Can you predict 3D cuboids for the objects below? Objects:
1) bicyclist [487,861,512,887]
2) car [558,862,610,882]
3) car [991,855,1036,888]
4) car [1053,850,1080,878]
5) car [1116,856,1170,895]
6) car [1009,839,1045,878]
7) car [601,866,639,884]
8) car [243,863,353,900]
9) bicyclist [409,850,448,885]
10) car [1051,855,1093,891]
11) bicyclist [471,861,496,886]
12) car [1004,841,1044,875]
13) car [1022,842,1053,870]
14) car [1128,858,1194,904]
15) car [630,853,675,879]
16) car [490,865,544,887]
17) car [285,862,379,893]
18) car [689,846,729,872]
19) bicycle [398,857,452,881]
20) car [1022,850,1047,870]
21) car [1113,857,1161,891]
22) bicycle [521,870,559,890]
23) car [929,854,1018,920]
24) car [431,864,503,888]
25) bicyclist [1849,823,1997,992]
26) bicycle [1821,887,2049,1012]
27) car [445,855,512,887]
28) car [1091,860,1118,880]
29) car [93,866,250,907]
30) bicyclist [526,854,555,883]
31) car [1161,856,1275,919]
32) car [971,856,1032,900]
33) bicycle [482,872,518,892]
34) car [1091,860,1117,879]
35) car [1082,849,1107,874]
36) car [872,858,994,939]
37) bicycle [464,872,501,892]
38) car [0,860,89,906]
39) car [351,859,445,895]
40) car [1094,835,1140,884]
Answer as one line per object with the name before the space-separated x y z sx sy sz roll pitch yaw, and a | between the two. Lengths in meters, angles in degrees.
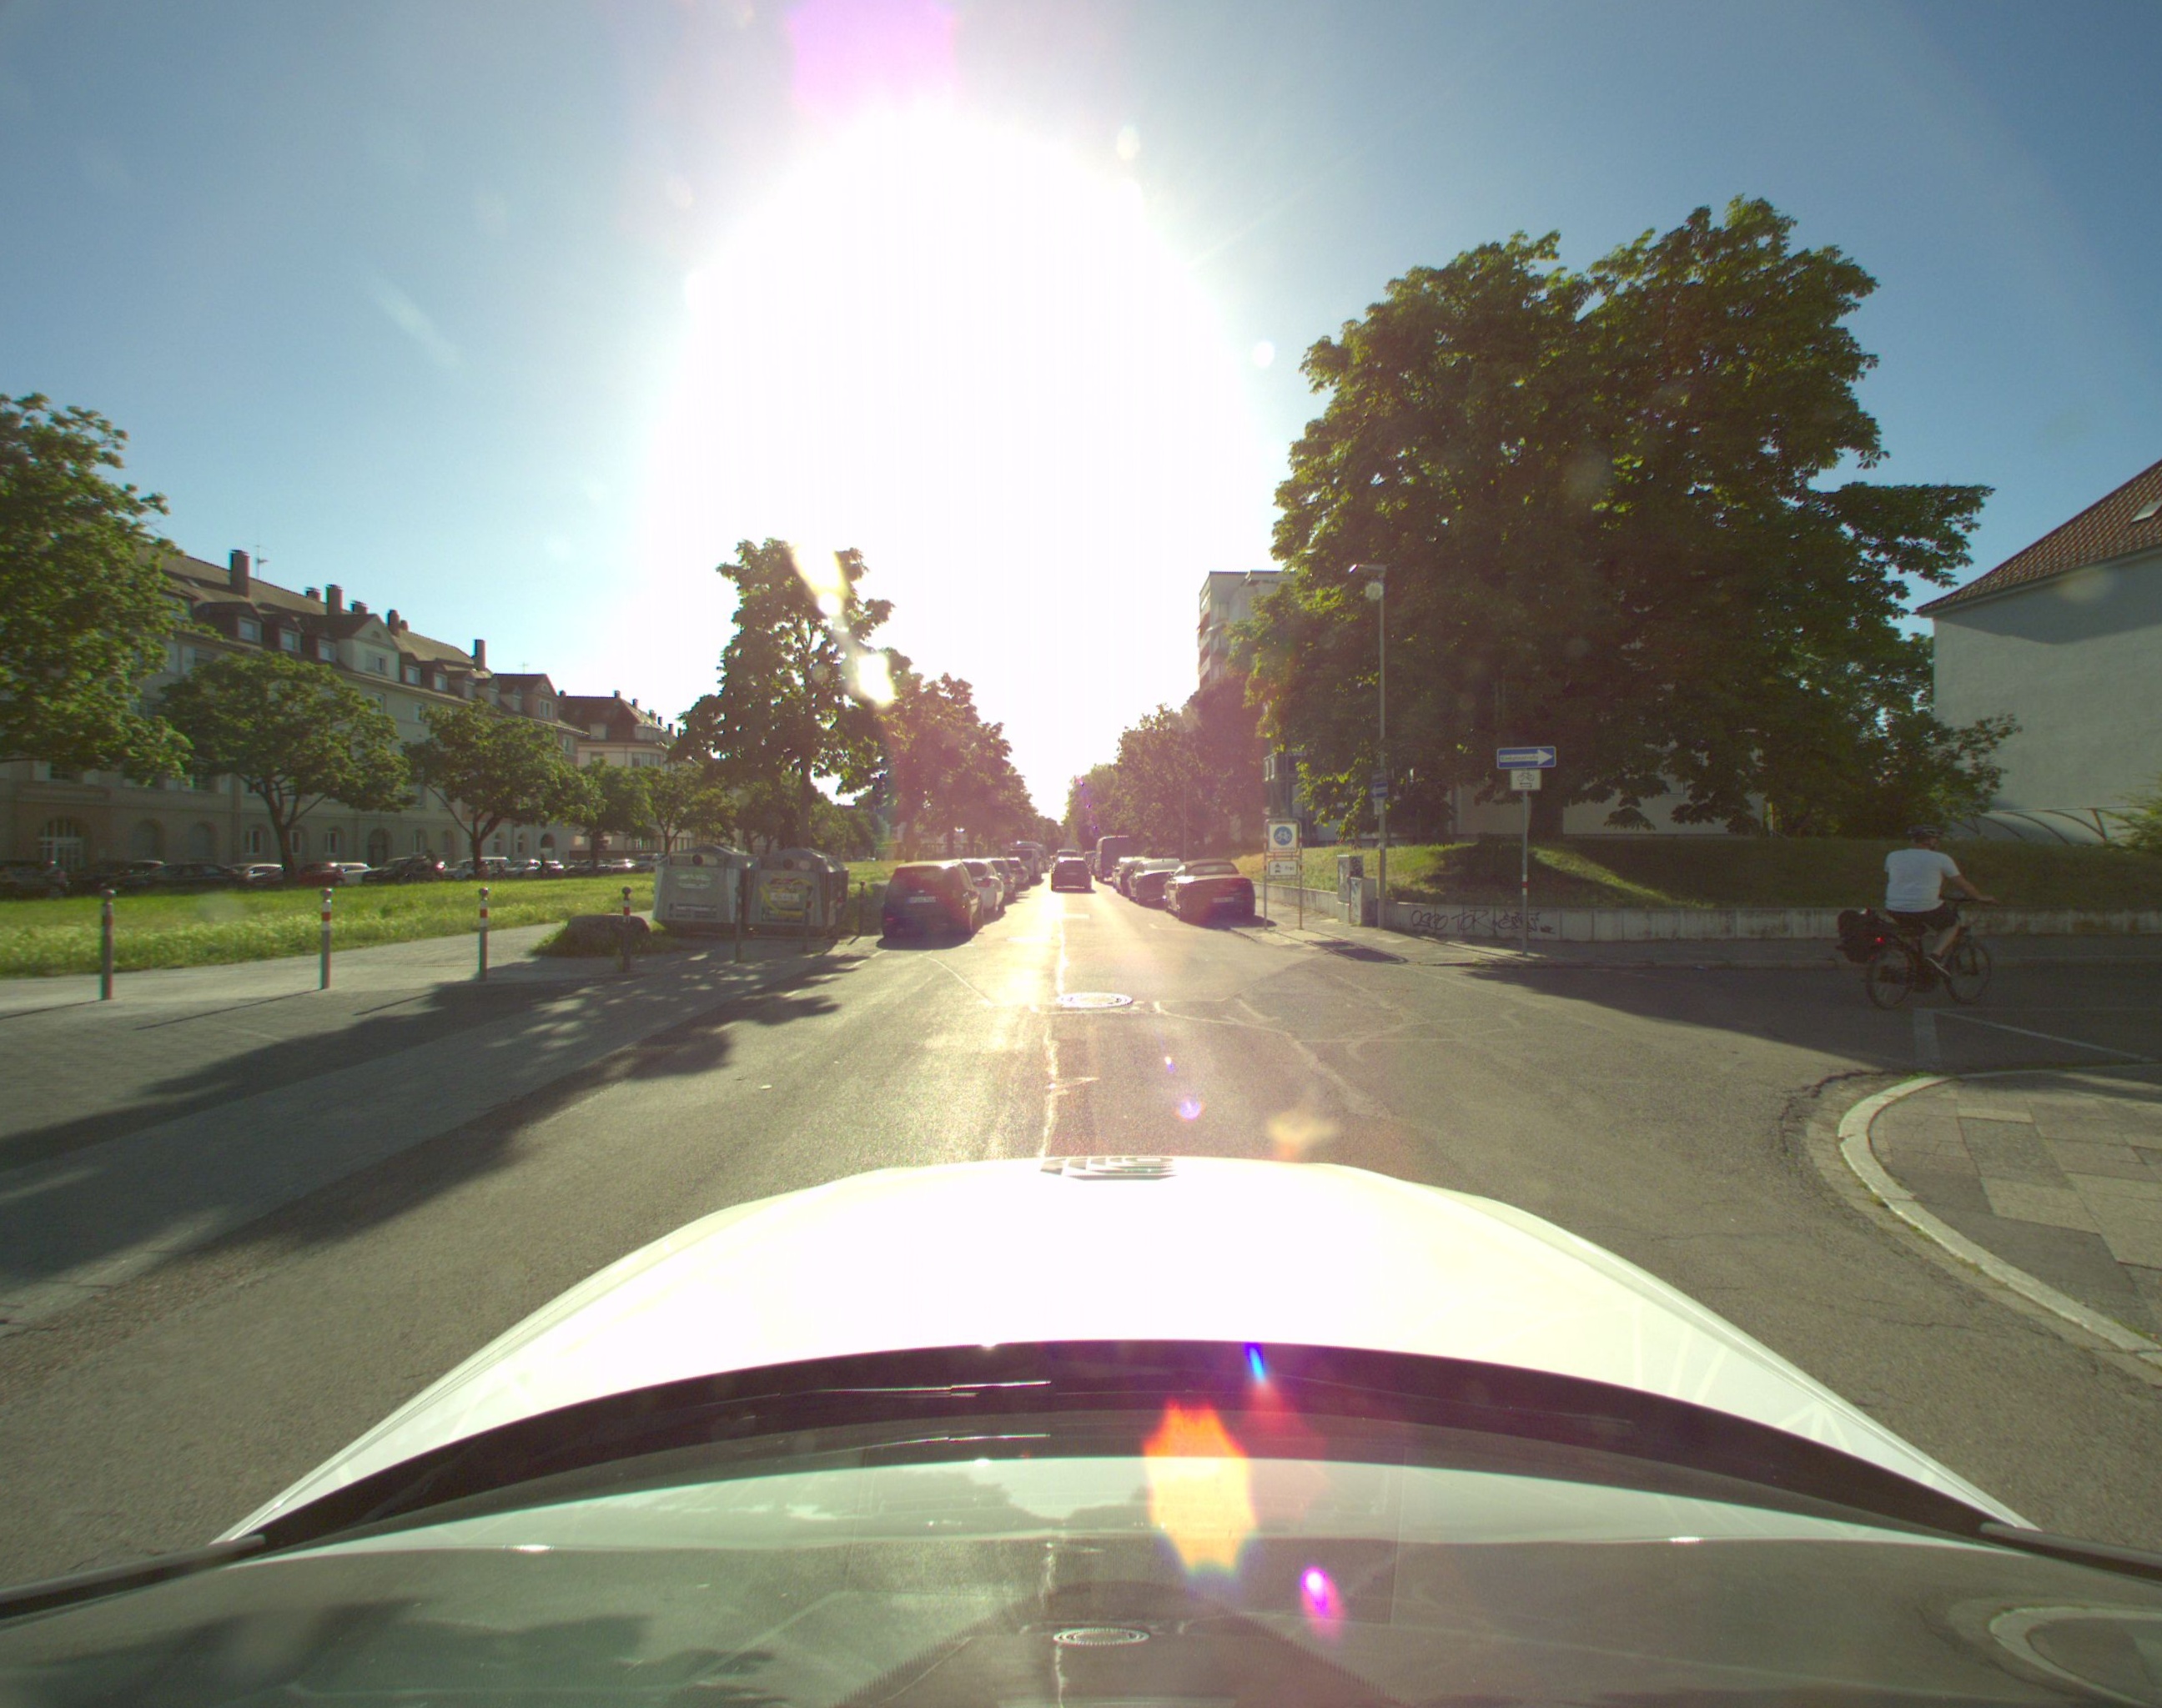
bicyclist | -33.654 1.160 47.146 0.736 1.437 0.942 -1 -1 -2
car | -39.132 1.400 64.195 1.841 1.440 3.773 0 0 -1
car | -3.191 0.809 39.177 1.827 1.500 4.126 0 0 0
car | -1.037 0.708 60.644 1.888 1.991 4.010 -2 0 0
car | 2.461 0.831 33.130 1.775 1.487 4.028 0 0 -2
car | -3.510 0.302 54.047 2.091 2.496 4.126 0 0 0
car | -38.864 1.736 68.716 1.514 1.440 3.228 0 0 -3
car | -38.469 1.327 40.144 1.628 1.686 4.076 0 0 -3
bicyclist | -35.318 0.727 44.116 0.938 1.837 1.449 -1 -1 0
car | -0.371 0.804 36.788 1.773 1.531 4.000 1 0 0
bicyclist | -34.668 1.113 47.239 0.736 1.437 0.942 1 1 -1
car | -3.259 0.220 47.644 2.092 1.942 4.125 0 0 -1
car | -4.194 0.203 79.484 2.608 2.645 6.114 0 0 0
car | 2.537 0.826 26.759 1.773 1.371 4.126 0 0 0
car | -39.144 1.067 74.477 1.690 2.213 5.002 0 0 -3
car | -38.811 1.497 56.151 1.376 1.440 3.341 0 0 0
car | -44.407 1.348 48.405 1.936 1.751 4.023 0 0 -2
car | -39.632 0.523 86.920 1.911 2.744 5.618 0 0 -3
bicycle | -35.345 0.805 43.929 0.808 1.252 2.632 0 0 -2
car | -4.176 0.511 73.822 2.003 1.785 4.126 -1 0 0
car | 2.557 0.894 38.190 1.982 1.487 4.126 0 0 0
bicycle | -35.348 1.674 53.236 0.808 1.252 2.632 0 0 -3
car | -2.731 0.812 21.463 1.771 1.495 3.874 -2 -1 0
car | -38.718 1.353 51.468 1.688 1.429 3.774 0 0 0
bicyclist | 8.355 0.505 8.110 0.788 1.596 0.694 0 0 -7
bicycle | 8.476 0.914 8.114 1.758 1.127 0.661 0 1 -8
car | -44.536 1.237 60.329 1.772 2.259 4.460 0 0 -3
car | 1.796 1.209 62.458 1.982 1.487 4.126 0 0 0
car | -38.399 1.315 34.593 1.752 1.549 4.522 0 0 -3
bicyclist | -35.335 0.966 53.244 0.939 1.837 1.448 -1 -1 -2
car | 3.354 0.762 20.825 2.118 1.337 4.505 -3 0 0
car | -2.805 0.803 29.389 1.773 1.461 4.126 0 0 0
bicycle | -33.619 1.595 47.180 0.730 1.079 1.954 0 0 -3
car | 1.859 1.231 66.924 1.982 1.487 4.126 0 0 0
car | 1.263 0.684 77.732 2.157 2.292 5.262 0 0 -1
car | -2.926 0.838 16.938 1.742 1.425 3.916 -2 -1 0
bicycle | -34.679 1.615 47.223 0.730 1.079 1.954 0 0 -3
car | -38.035 1.003 28.429 1.628 1.549 4.349 0 0 -3
car | -38.620 1.267 46.185 1.732 1.908 4.455 0 0 -3
car | 2.060 0.301 48.292 2.159 2.689 5.408 0 0 -4
